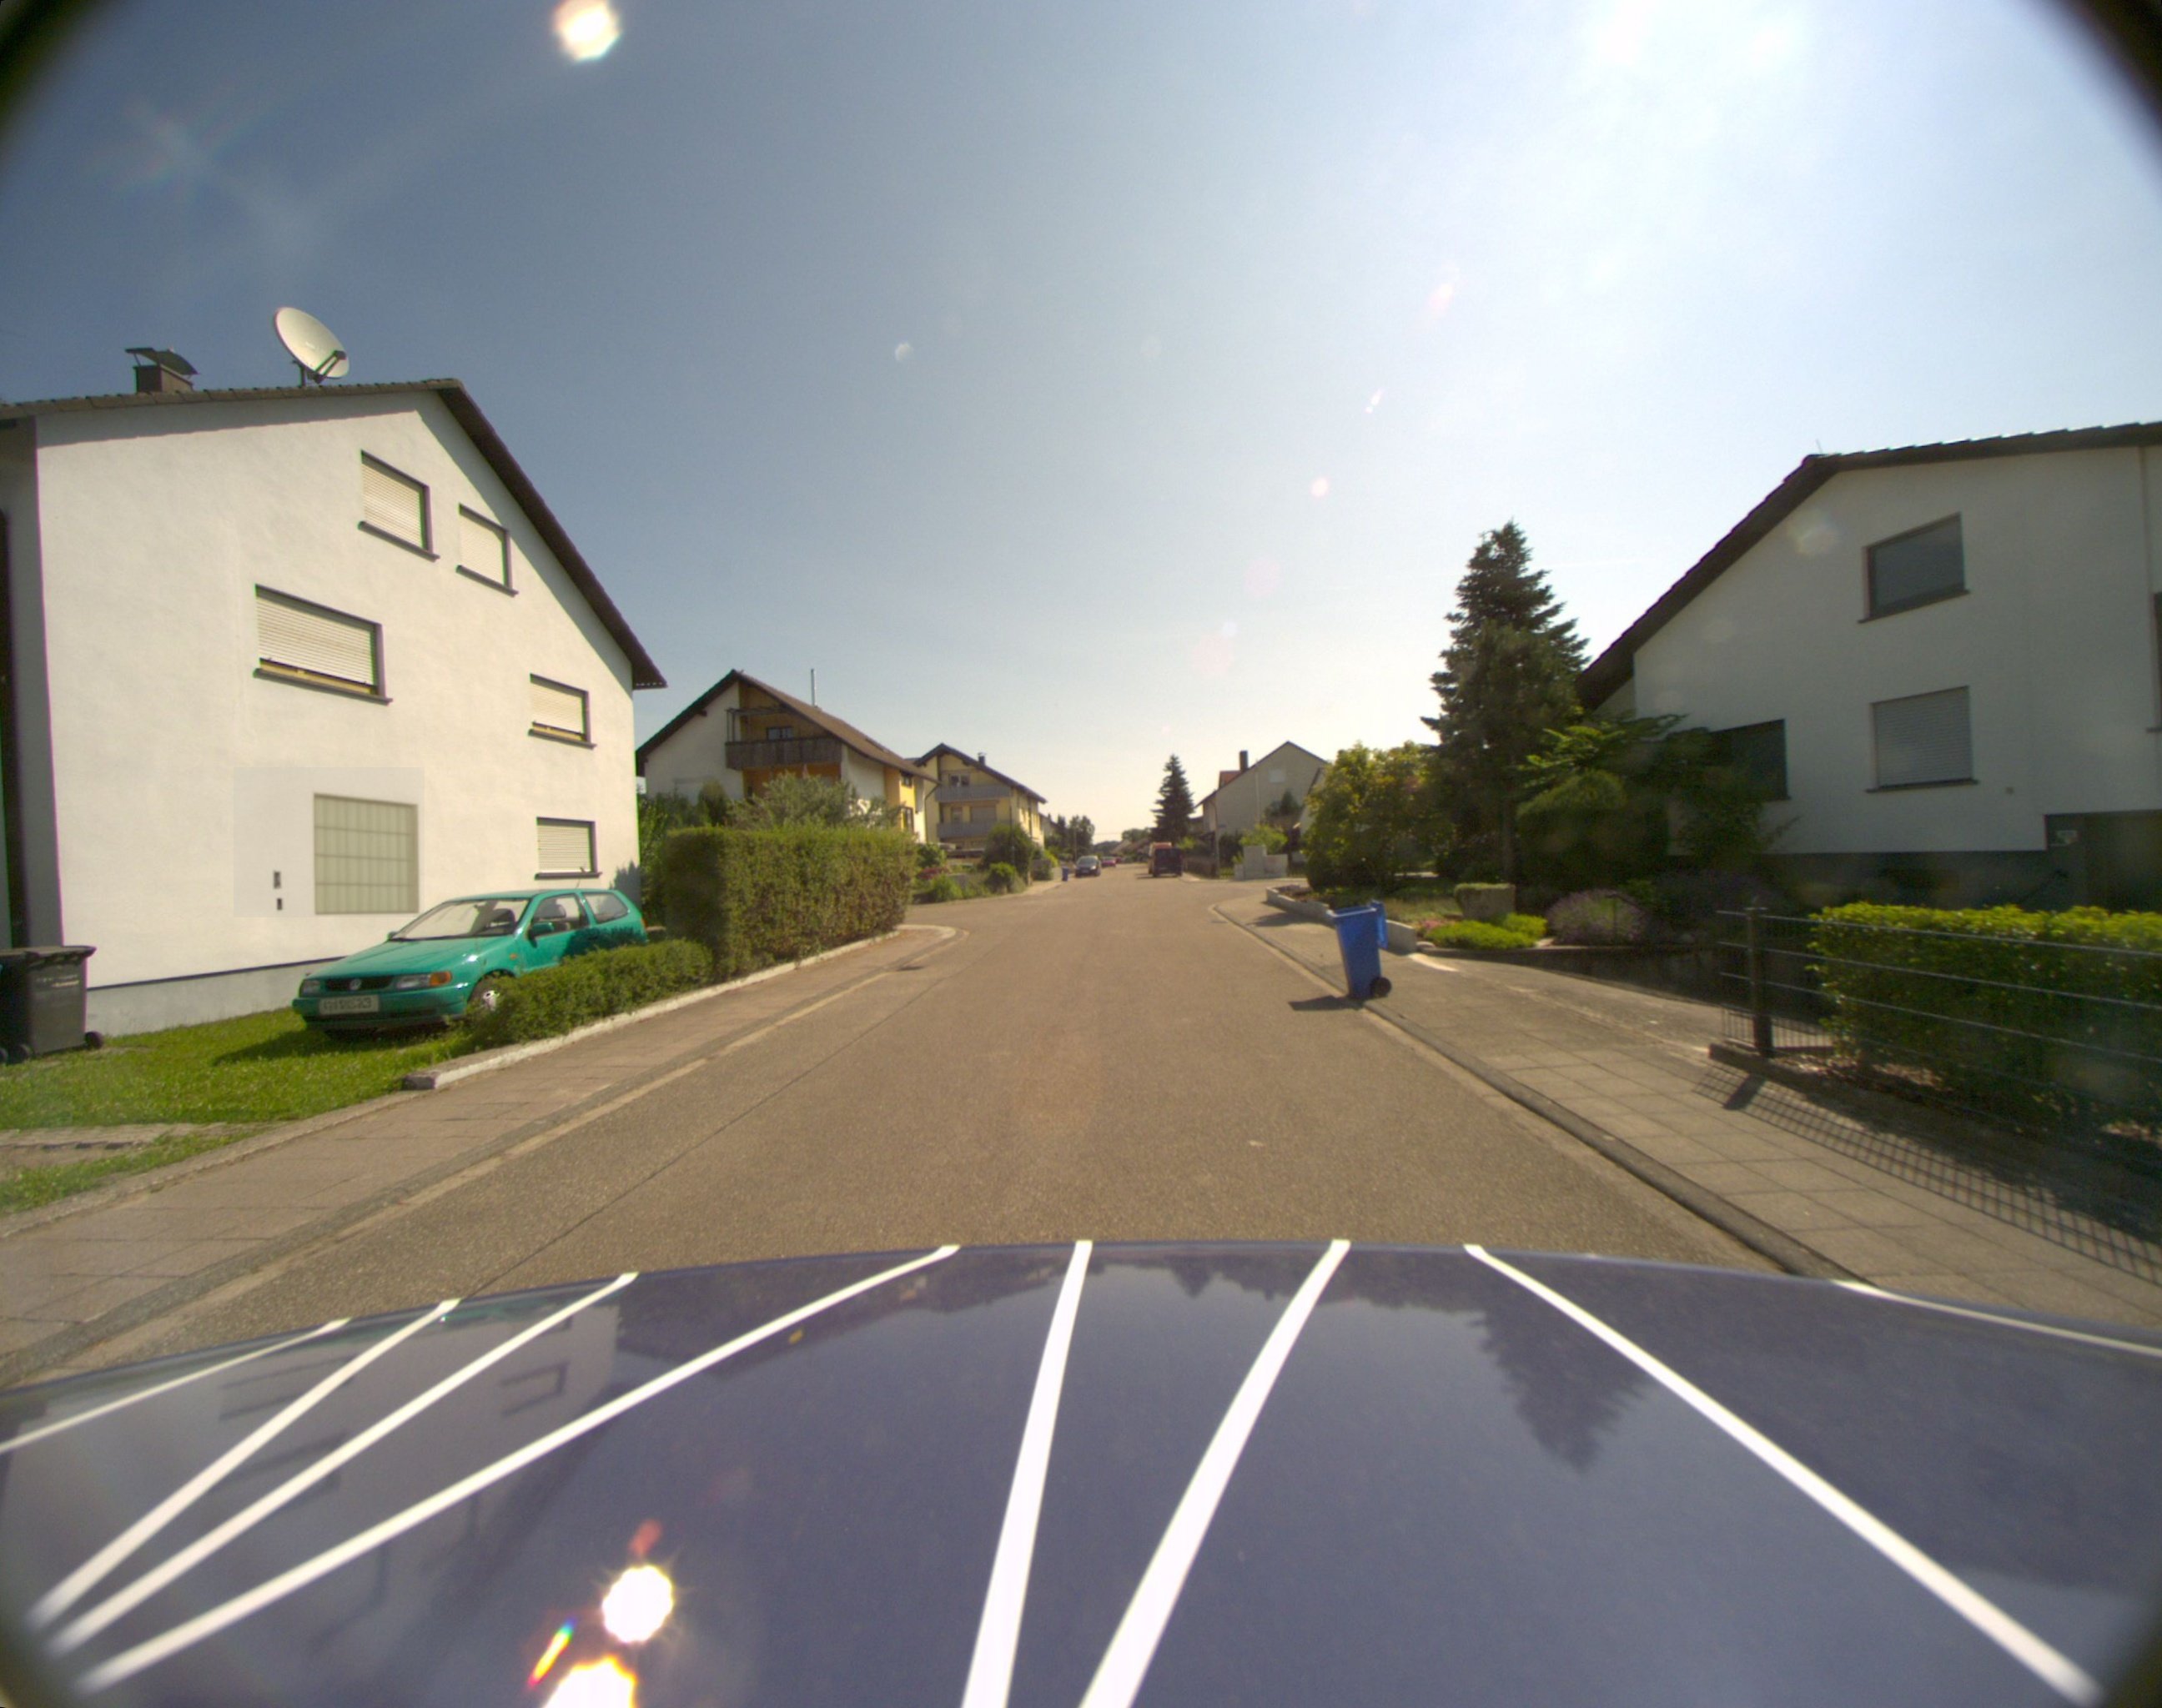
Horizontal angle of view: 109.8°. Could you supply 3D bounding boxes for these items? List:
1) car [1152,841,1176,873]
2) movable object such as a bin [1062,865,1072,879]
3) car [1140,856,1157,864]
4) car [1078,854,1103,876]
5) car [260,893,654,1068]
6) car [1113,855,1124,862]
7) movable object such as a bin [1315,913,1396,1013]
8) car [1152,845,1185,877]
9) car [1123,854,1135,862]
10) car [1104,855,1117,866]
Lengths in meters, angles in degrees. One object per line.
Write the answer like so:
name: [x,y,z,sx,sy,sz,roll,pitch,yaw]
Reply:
car: [6.585,0.233,60.360,1.555,2.310,4.205,-3,0,3]
movable object such as a bin: [-0.966,1.242,51.603,0.584,0.911,0.598,-4,0,3]
car: [14.537,1.304,163.212,3.413,1.521,1.638,-3,0,-3]
car: [0.769,0.839,61.121,1.631,1.616,4.002,-3,0,5]
car: [-6.691,1.249,8.701,1.498,1.351,3.527,-3,0,1]
car: [8.226,1.072,166.917,1.709,1.332,4.000,-3,-2,-4]
movable object such as a bin: [2.809,1.107,7.830,0.584,0.911,0.598,-4,0,3]
car: [5.836,0.451,50.981,1.869,1.927,4.205,-3,0,3]
car: [9.758,0.789,154.350,1.709,1.332,4.000,-3,-2,-4]
car: [4.001,0.885,103.119,1.517,1.398,3.678,-4,-1,1]
